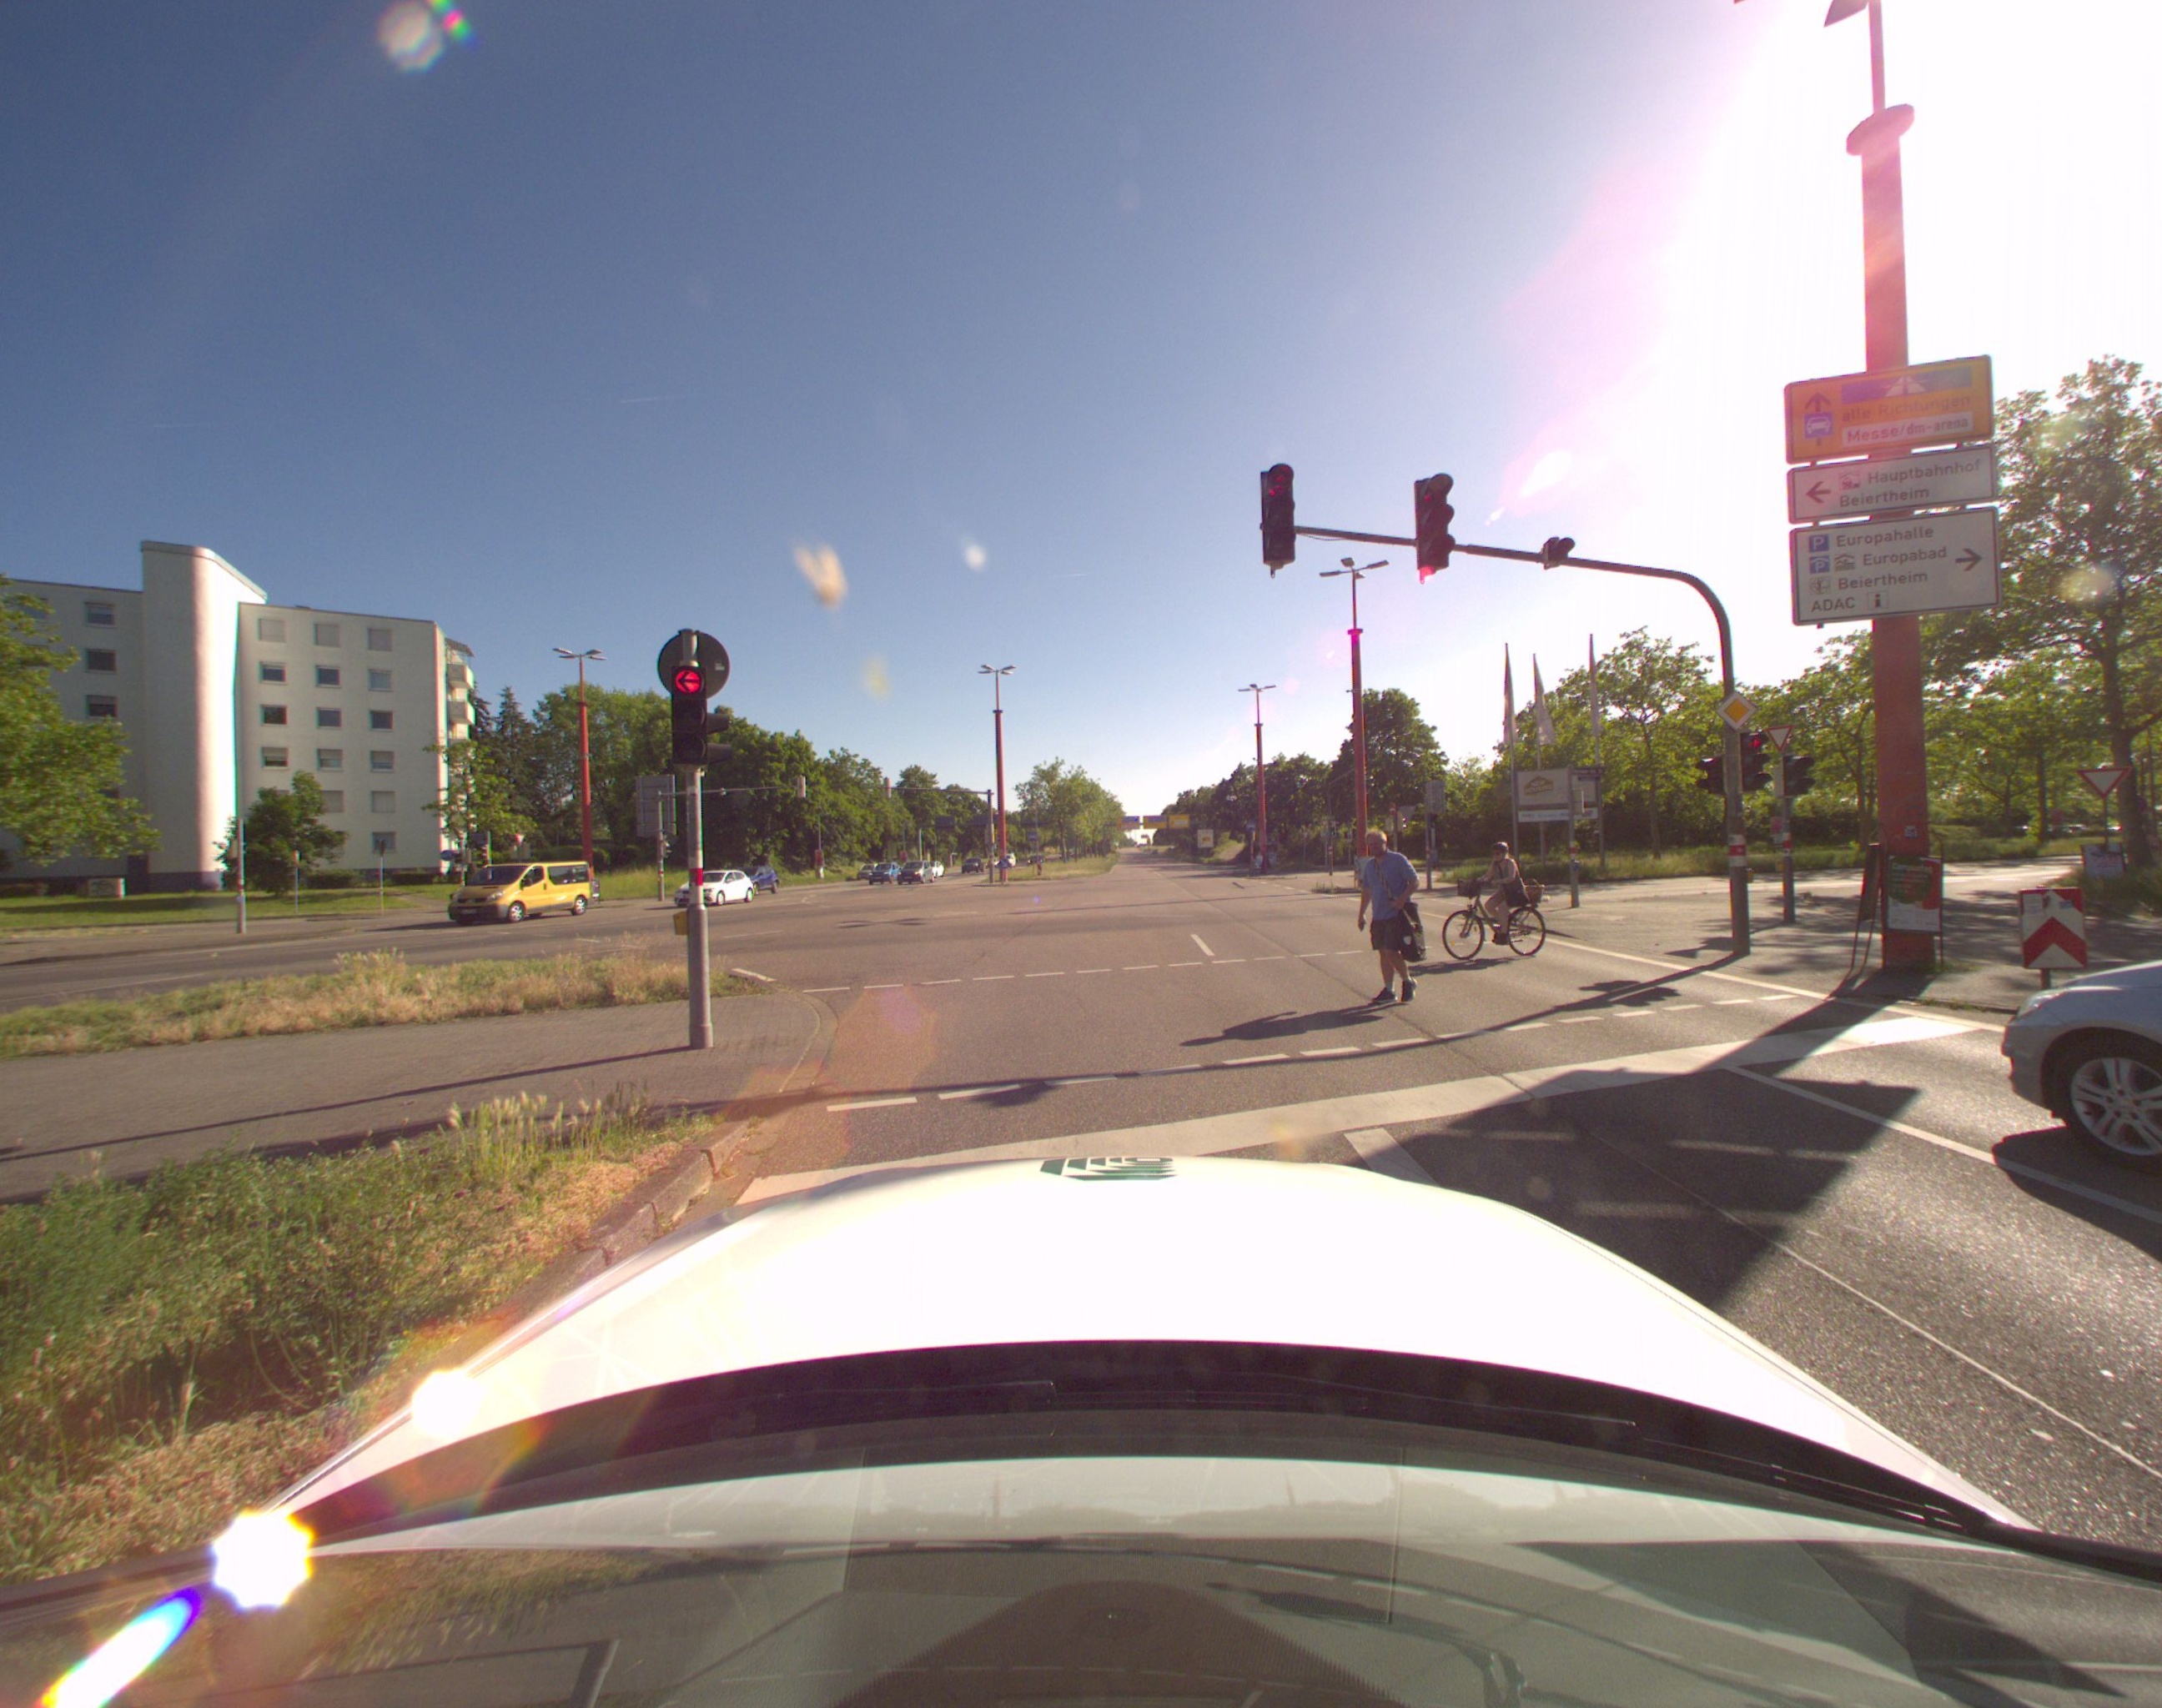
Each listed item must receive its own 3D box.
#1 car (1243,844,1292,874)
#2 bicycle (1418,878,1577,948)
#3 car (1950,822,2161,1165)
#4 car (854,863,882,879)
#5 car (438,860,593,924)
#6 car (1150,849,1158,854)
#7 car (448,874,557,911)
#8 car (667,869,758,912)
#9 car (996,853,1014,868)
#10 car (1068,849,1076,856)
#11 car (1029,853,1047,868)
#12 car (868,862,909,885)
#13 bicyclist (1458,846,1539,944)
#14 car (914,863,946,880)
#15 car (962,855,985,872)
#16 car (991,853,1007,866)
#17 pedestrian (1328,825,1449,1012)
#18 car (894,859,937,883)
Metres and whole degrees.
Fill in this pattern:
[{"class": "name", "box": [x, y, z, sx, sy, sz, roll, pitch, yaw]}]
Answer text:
[{"class": "car", "box": [12.283, 0.294, 53.496, 1.974, 1.887, 4.025, -2, 0, 30]}, {"class": "bicycle", "box": [6.010, 0.832, 11.766, 2.163, 0.878, 0.557, -2, 0, -12]}, {"class": "car", "box": [5.615, 0.601, 2.497, 1.662, 1.540, 4.063, -2, 0, 3]}, {"class": "car", "box": [-20.094, 1.593, 76.840, 1.525, 1.449, 3.707, -1, -1, 2]}, {"class": "car", "box": [-19.087, 1.203, 27.798, 1.750, 1.987, 4.793, -1, -1, 3]}, {"class": "car", "box": [20.682, -0.658, 231.345, 2.046, 1.371, 4.393, -2, 0, 2]}, {"class": "car", "box": [-28.555, 1.839, 40.269, 1.974, 1.638, 4.025, -1, -1, 39]}, {"class": "car", "box": [-15.118, 1.449, 33.655, 1.696, 1.596, 4.004, -1, -1, 4]}, {"class": "car", "box": [-10.324, 0.935, 111.058, 1.997, 2.014, 4.000, -1, -1, 0]}, {"class": "car", "box": [-2.365, -0.380, 222.744, 1.997, 1.858, 4.000, -1, -1, 0]}, {"class": "car", "box": [-5.125, 0.733, 97.884, 1.649, 1.747, 4.005, -1, -1, 4]}, {"class": "car", "box": [-13.491, 1.328, 57.263, 1.696, 1.558, 3.807, -1, -1, 4]}, {"class": "bicyclist", "box": [5.991, 0.569, 11.720, 0.739, 1.341, 0.705, -2, 0, -9]}, {"class": "car", "box": [-13.028, 1.485, 70.598, 1.997, 1.308, 4.000, -2, 0, 0]}, {"class": "car", "box": [-11.671, 1.009, 88.810, 1.618, 1.739, 4.004, -2, 0, 4]}, {"class": "car", "box": [-12.479, 0.868, 124.606, 1.997, 2.014, 4.000, -1, -1, 0]}, {"class": "pedestrian", "box": [3.184, 0.611, 8.412, 0.889, 1.788, 0.900, -1, 0, 40]}, {"class": "car", "box": [-10.624, 1.078, 52.462, 1.693, 1.421, 4.003, 1, -1, 3]}]
